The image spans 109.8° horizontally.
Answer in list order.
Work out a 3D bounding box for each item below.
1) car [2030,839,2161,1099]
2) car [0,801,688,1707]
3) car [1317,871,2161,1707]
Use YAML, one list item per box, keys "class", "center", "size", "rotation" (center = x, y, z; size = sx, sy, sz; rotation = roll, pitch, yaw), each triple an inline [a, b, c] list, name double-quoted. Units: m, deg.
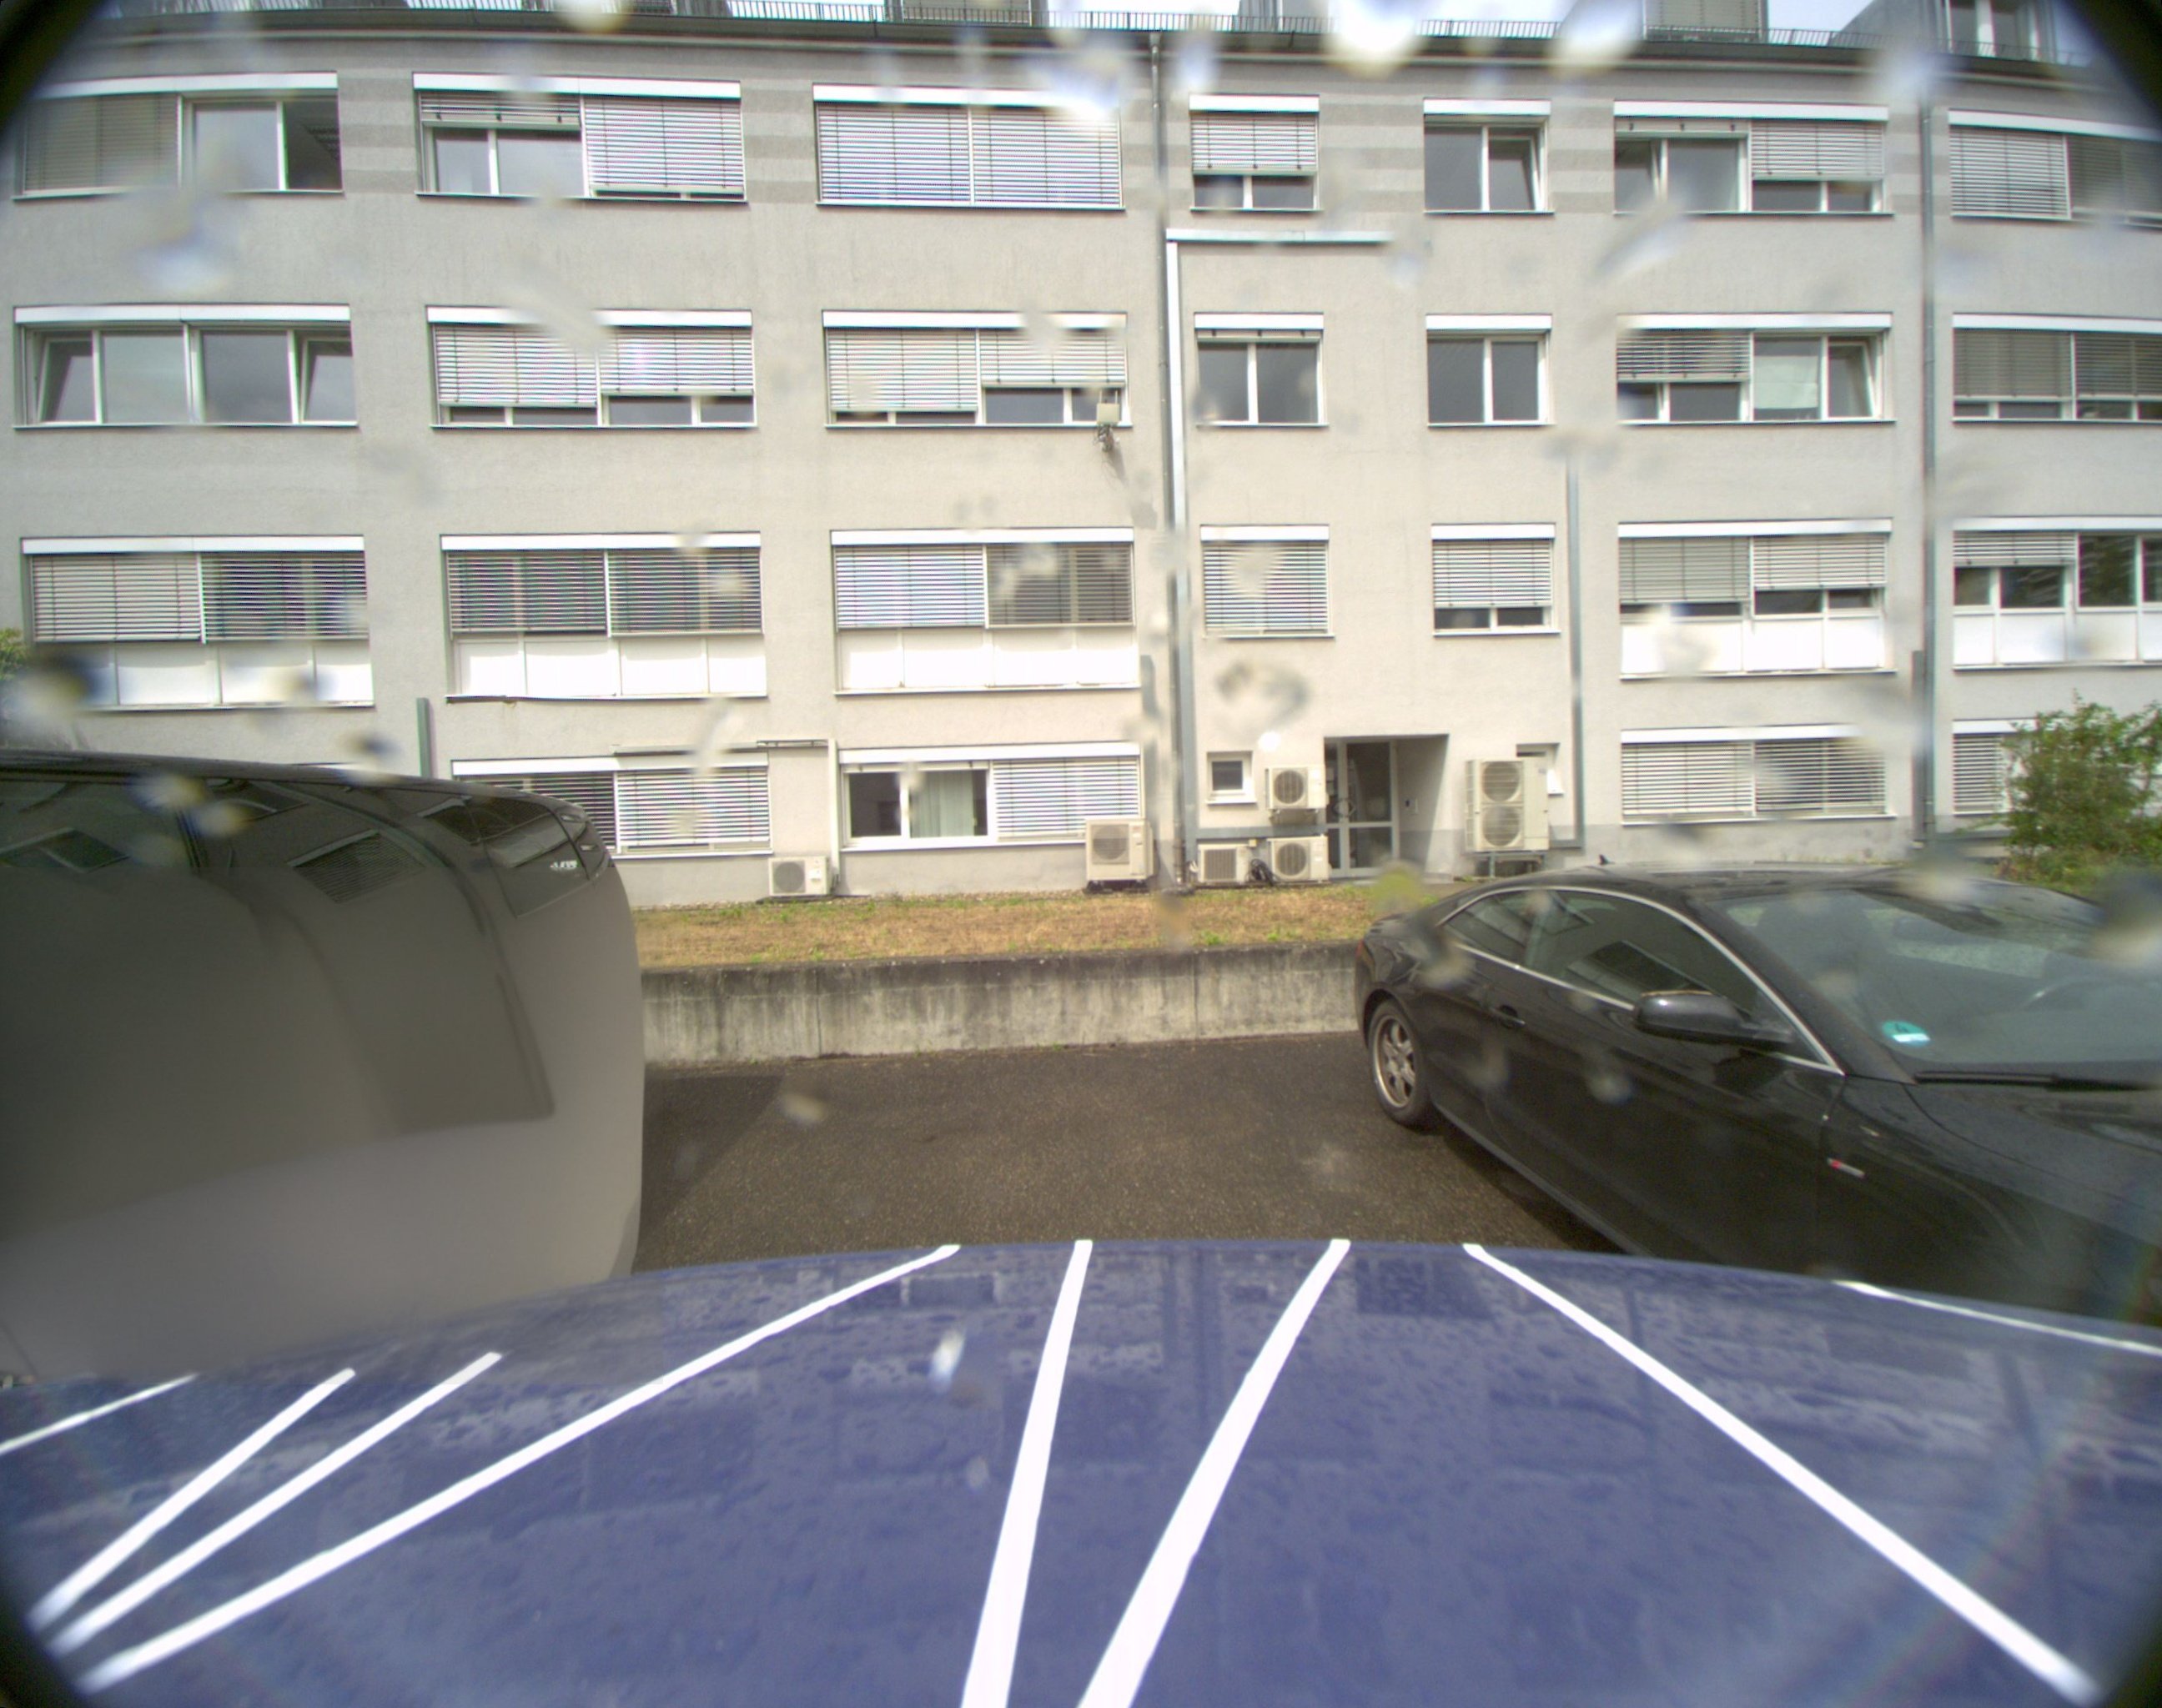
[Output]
- class: "car"
  center: [7.094, 0.687, 2.768]
  size: [1.762, 1.434, 4.313]
  rotation: [-3, 2, -4]
- class: "car"
  center: [-3.211, 0.839, 2.075]
  size: [1.970, 1.854, 4.744]
  rotation: [-2, 2, -4]
- class: "car"
  center: [2.448, 0.885, 2.446]
  size: [1.762, 1.344, 4.526]
  rotation: [-2, 2, -2]
